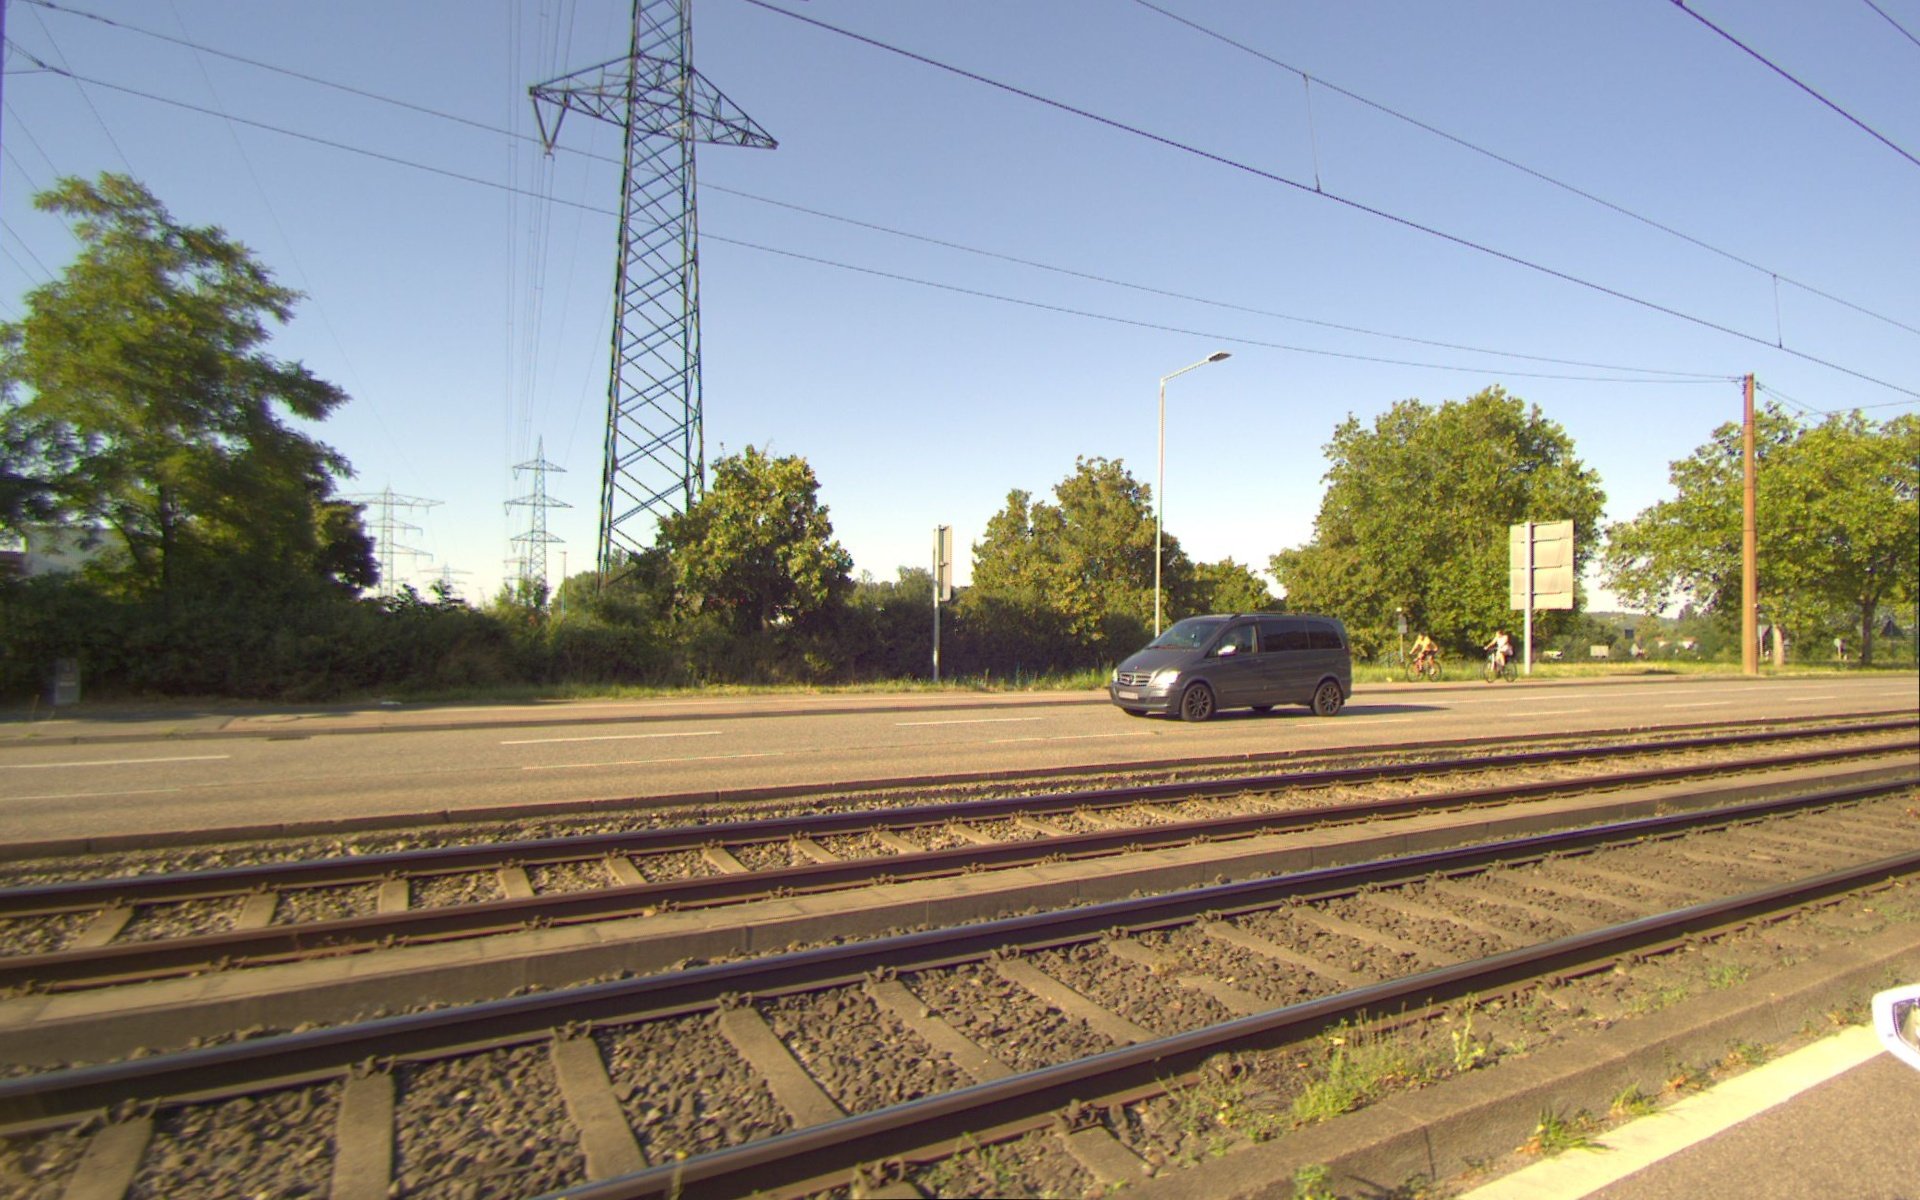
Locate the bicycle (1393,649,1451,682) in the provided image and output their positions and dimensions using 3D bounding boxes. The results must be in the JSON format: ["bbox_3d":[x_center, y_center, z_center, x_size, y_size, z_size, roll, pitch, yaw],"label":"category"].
[{"bbox_3d":[15.067,2.137,32.743,2.160,1.035,0.587,2,-2,-30],"label":"bicycle"}]

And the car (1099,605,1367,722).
[{"bbox_3d":[5.142,1.158,18.774,4.800,1.948,1.986,2,-2,-28],"label":"car"}]

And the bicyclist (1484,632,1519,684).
[{"bbox_3d":[17.534,1.871,32.506,0.956,1.632,0.587,2,-2,-30],"label":"bicyclist"}]

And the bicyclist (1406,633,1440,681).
[{"bbox_3d":[15.102,1.855,32.760,0.895,1.548,0.587,2,-2,-30],"label":"bicyclist"}]

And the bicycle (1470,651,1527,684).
[{"bbox_3d":[17.377,2.163,32.417,2.160,1.035,0.587,2,-2,-30],"label":"bicycle"}]
